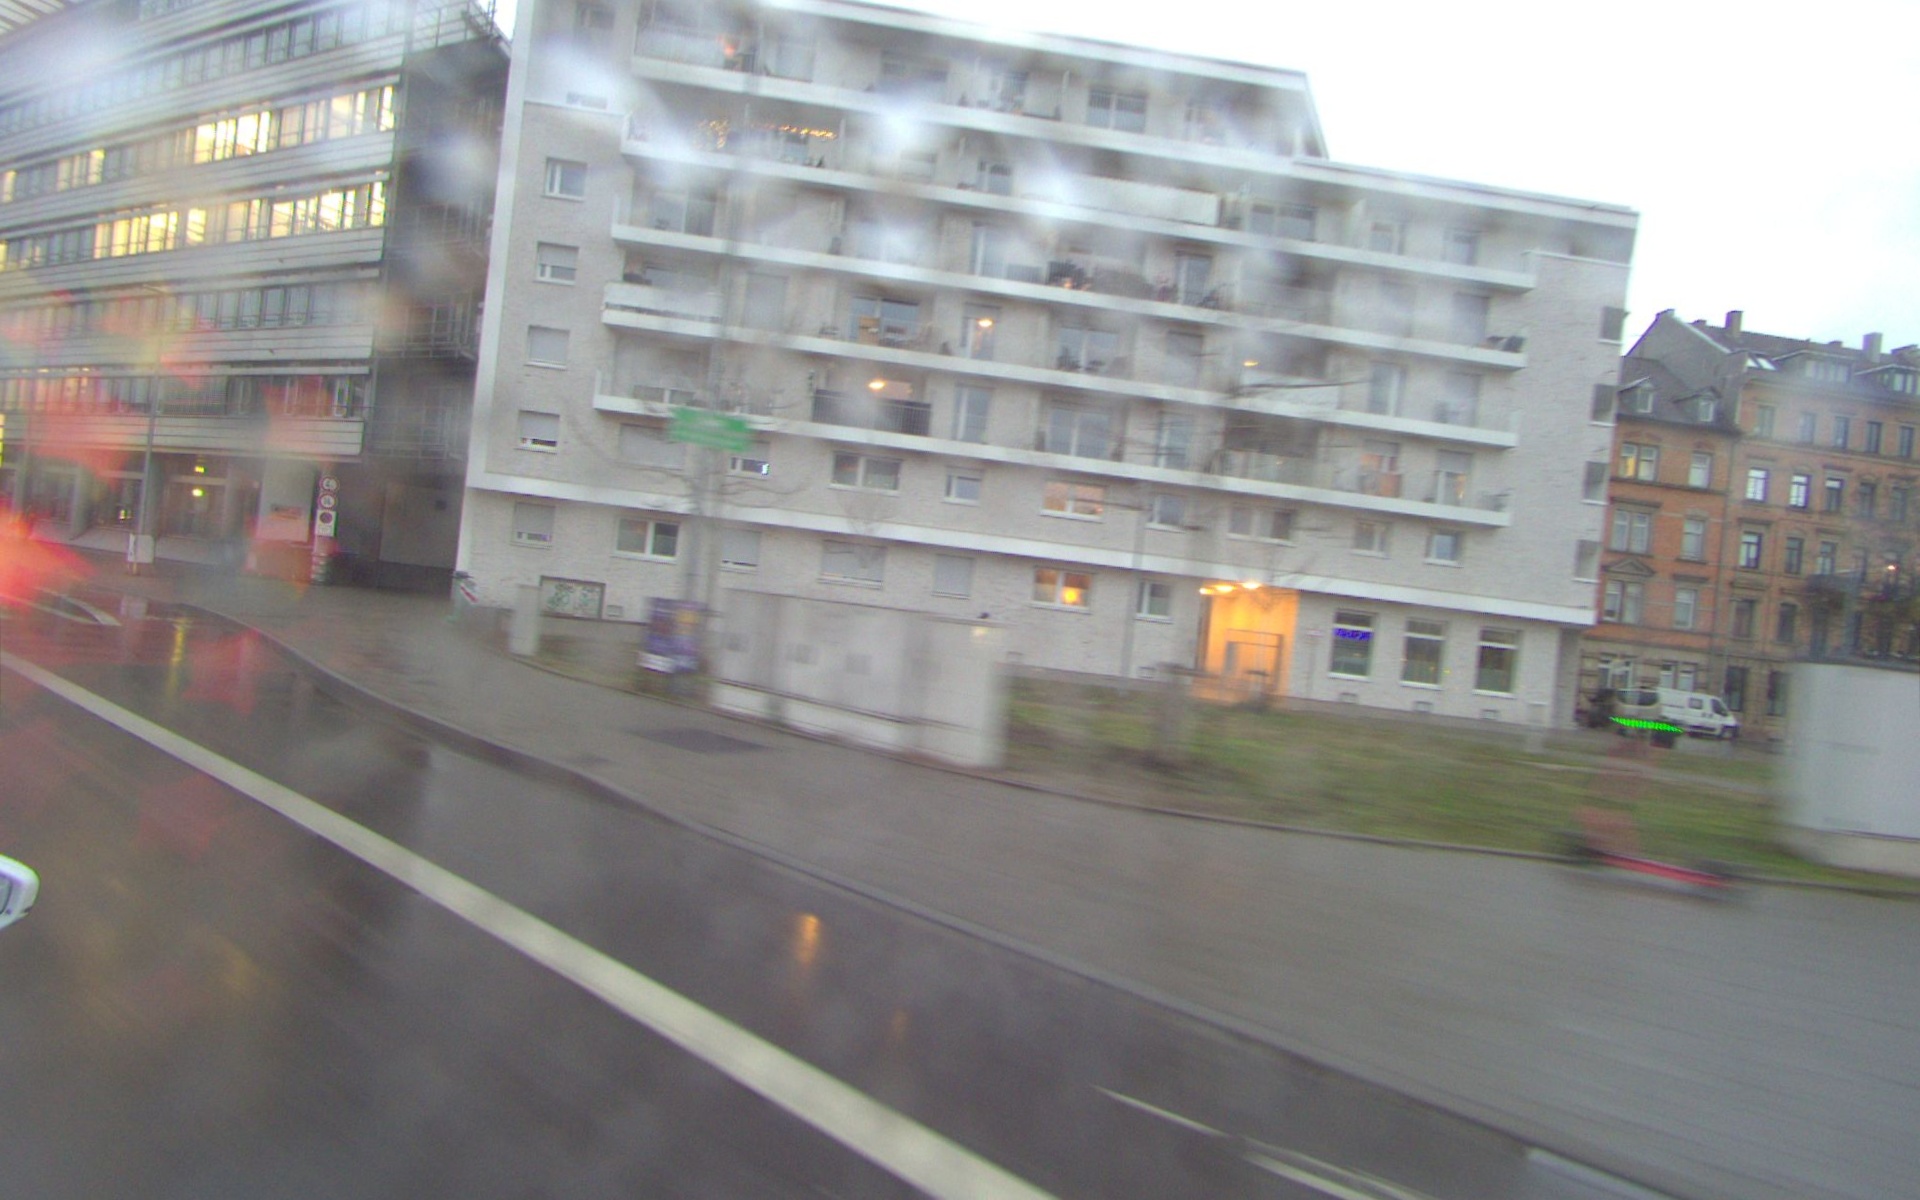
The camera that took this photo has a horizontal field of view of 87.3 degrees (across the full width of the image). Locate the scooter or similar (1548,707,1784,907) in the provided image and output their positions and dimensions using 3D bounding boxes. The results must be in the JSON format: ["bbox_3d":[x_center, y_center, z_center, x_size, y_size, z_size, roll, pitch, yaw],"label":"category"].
[{"bbox_3d":[5.193,1.495,7.471,1.285,1.221,0.334,6,0,24],"label":"scooter or similar"}]

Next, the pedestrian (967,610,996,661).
[{"bbox_3d":[0.718,1.193,34.360,0.623,1.652,0.719,6,0,-17],"label":"pedestrian"}]

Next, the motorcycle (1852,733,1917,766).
[{"bbox_3d":[36.915,5.964,40.188,0.508,0.943,1.778,6,2,-34],"label":"motorcycle"}]

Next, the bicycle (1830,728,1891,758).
[{"bbox_3d":[37.731,5.982,42.162,0.441,0.943,1.782,6,1,-28],"label":"bicycle"}]

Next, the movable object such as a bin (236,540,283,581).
[{"bbox_3d":[-24.938,-1.417,35.829,1.147,1.311,0.845,6,1,24],"label":"movable object such as a bin"}]

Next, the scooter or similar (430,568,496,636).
[{"bbox_3d":[-9.810,0.029,19.821,0.665,1.241,1.538,6,-1,-43],"label":"scooter or similar"}]

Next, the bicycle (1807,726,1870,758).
[{"bbox_3d":[35.241,5.685,40.364,0.441,0.943,1.782,6,1,-28],"label":"bicycle"}]

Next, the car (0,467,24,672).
[{"bbox_3d":[-10.477,-0.479,9.478,3.940,1.801,1.673,6,-1,37],"label":"car"}]

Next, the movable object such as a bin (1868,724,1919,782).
[{"bbox_3d":[29.207,4.738,31.110,1.119,1.595,1.053,6,0,1],"label":"movable object such as a bin"}]

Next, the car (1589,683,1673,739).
[{"bbox_3d":[28.912,4.726,43.523,1.907,1.965,4.598,6,-1,22],"label":"car"}]

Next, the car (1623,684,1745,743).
[{"bbox_3d":[35.392,5.520,49.231,4.580,2.216,1.998,7,0,-7],"label":"car"}]

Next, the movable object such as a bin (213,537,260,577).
[{"bbox_3d":[-26.127,-1.547,36.339,1.147,1.311,0.845,6,1,24],"label":"movable object such as a bin"}]

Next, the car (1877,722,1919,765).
[{"bbox_3d":[40.508,6.095,41.102,1.726,1.588,4.118,7,-1,-35],"label":"car"}]
